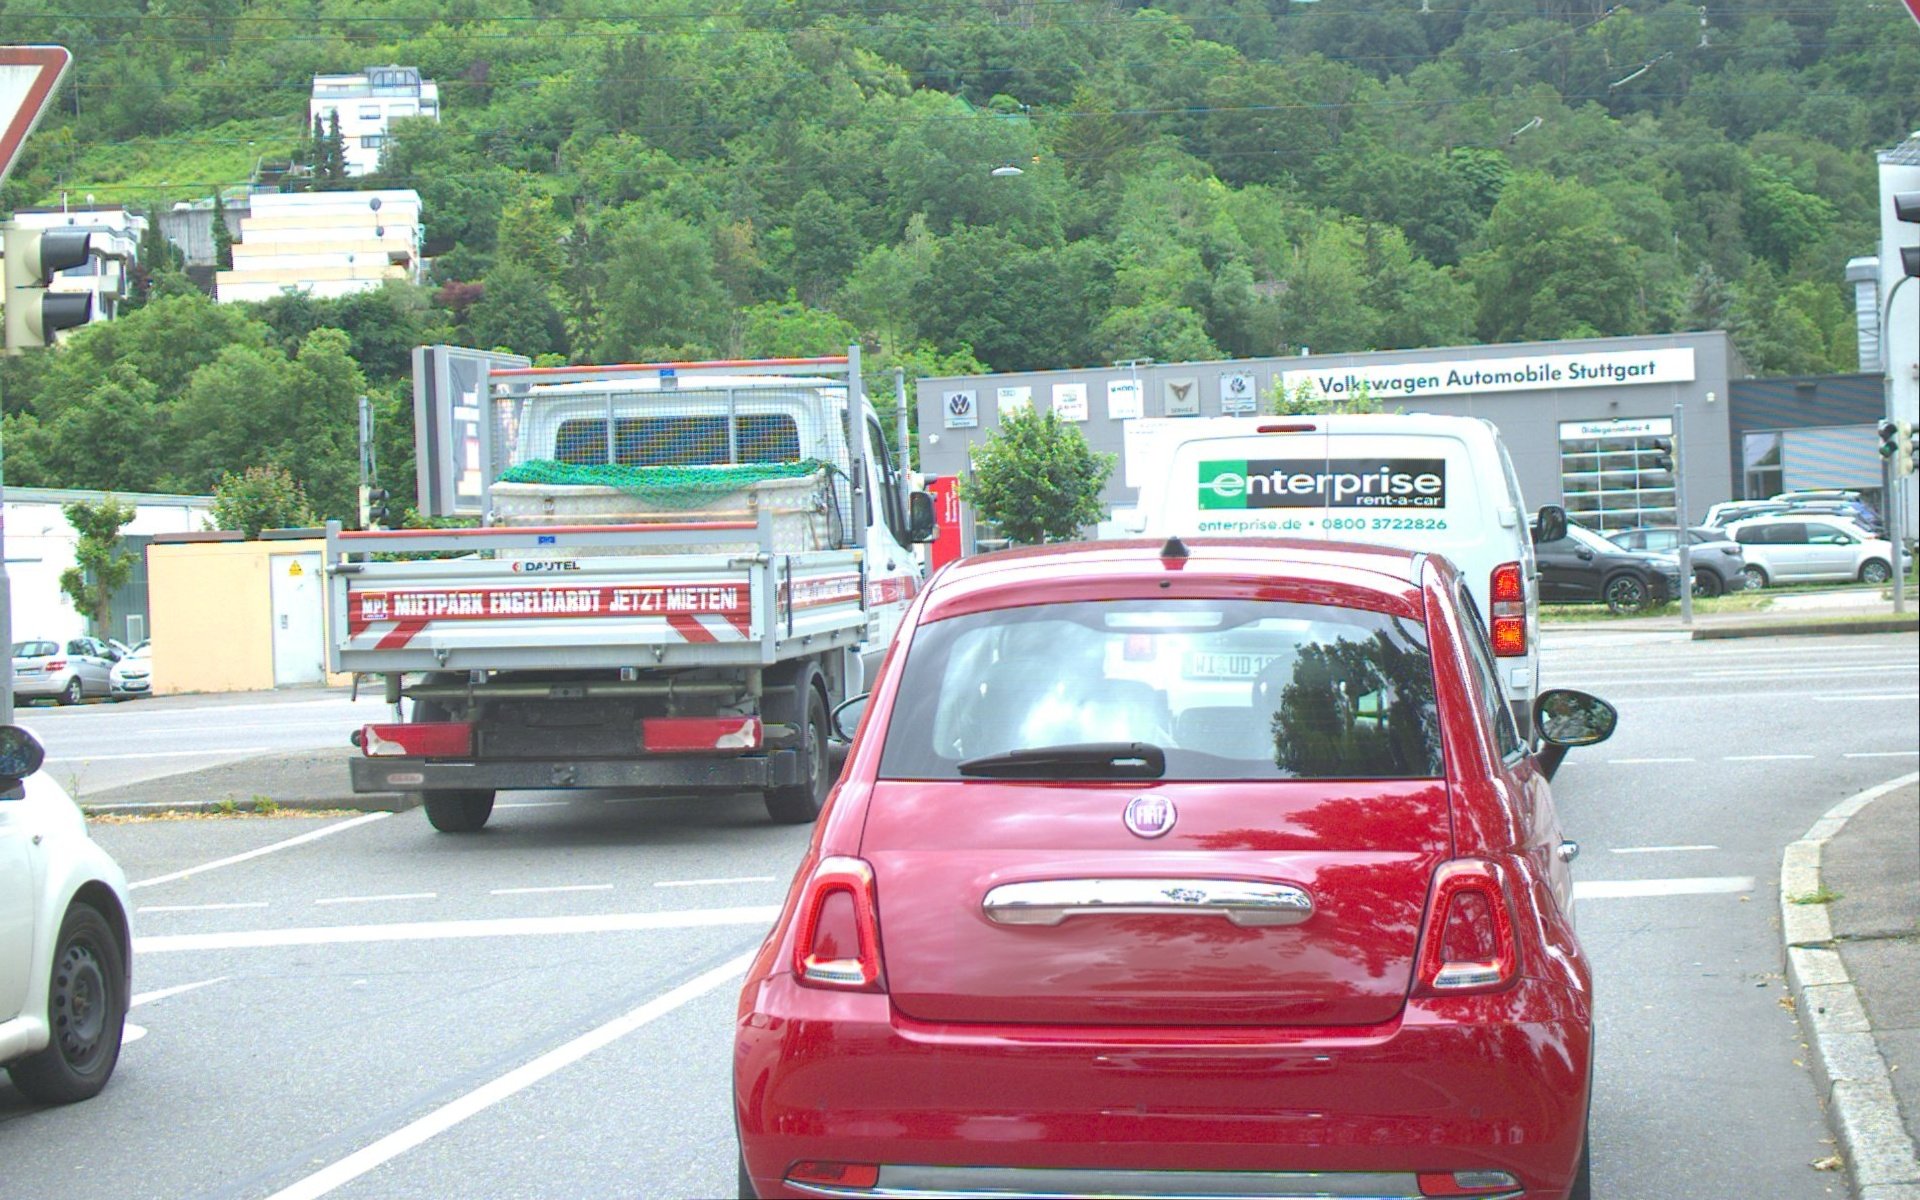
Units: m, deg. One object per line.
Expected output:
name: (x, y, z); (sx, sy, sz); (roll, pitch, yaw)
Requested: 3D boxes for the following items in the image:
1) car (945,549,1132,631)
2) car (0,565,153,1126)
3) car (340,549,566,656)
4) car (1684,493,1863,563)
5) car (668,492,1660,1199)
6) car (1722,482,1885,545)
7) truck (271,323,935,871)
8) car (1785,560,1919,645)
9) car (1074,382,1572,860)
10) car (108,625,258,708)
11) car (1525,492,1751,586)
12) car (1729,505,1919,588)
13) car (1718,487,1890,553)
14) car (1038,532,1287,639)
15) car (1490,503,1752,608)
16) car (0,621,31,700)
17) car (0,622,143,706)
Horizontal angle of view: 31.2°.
car: (2.028, -0.247, 88.283); (4.498, 1.990, 1.999); (1, 0, 10)
car: (-3.295, 0.677, 8.288); (1.593, 1.415, 3.373); (-3, 1, 5)
car: (-11.198, 0.071, 75.923); (4.495, 2.235, 2.000); (1, 0, -27)
car: (21.708, -1.923, 91.878); (4.497, 1.723, 1.999); (1, 0, 10)
car: (0.644, 0.560, 7.937); (1.698, 1.520, 3.999); (1, 1, 9)
car: (24.735, -2.539, 100.981); (4.497, 1.723, 1.999); (1, 0, 10)
truck: (-1.658, -0.116, 18.479); (2.314, 2.413, 5.653); (-2, 2, 6)
car: (22.676, 0.083, 84.580); (4.498, 1.990, 1.999); (1, 0, 10)
car: (1.979, -0.011, 17.279); (1.999, 2.033, 4.829); (1, 2, 12)
car: (-17.962, 1.514, 79.683); (1.994, 1.833, 4.509); (1, 0, 6)
car: (13.124, -1.167, 66.724); (3.987, 1.700, 2.000); (1, 0, 2)
car: (19.554, -1.189, 76.841); (4.497, 1.723, 1.999); (1, 0, 10)
car: (23.515, -2.227, 95.949); (4.497, 1.723, 1.999); (1, 0, 10)
car: (4.395, -0.291, 74.488); (5.005, 2.007, 1.998); (-3, -2, 16)
car: (11.193, -0.778, 58.189); (3.992, 1.634, 1.998); (1, 4, 24)
car: (-23.437, 1.395, 79.756); (1.994, 1.833, 4.509); (1, 0, 8)
car: (-20.708, 1.454, 79.671); (1.994, 1.833, 4.509); (1, 0, 7)
